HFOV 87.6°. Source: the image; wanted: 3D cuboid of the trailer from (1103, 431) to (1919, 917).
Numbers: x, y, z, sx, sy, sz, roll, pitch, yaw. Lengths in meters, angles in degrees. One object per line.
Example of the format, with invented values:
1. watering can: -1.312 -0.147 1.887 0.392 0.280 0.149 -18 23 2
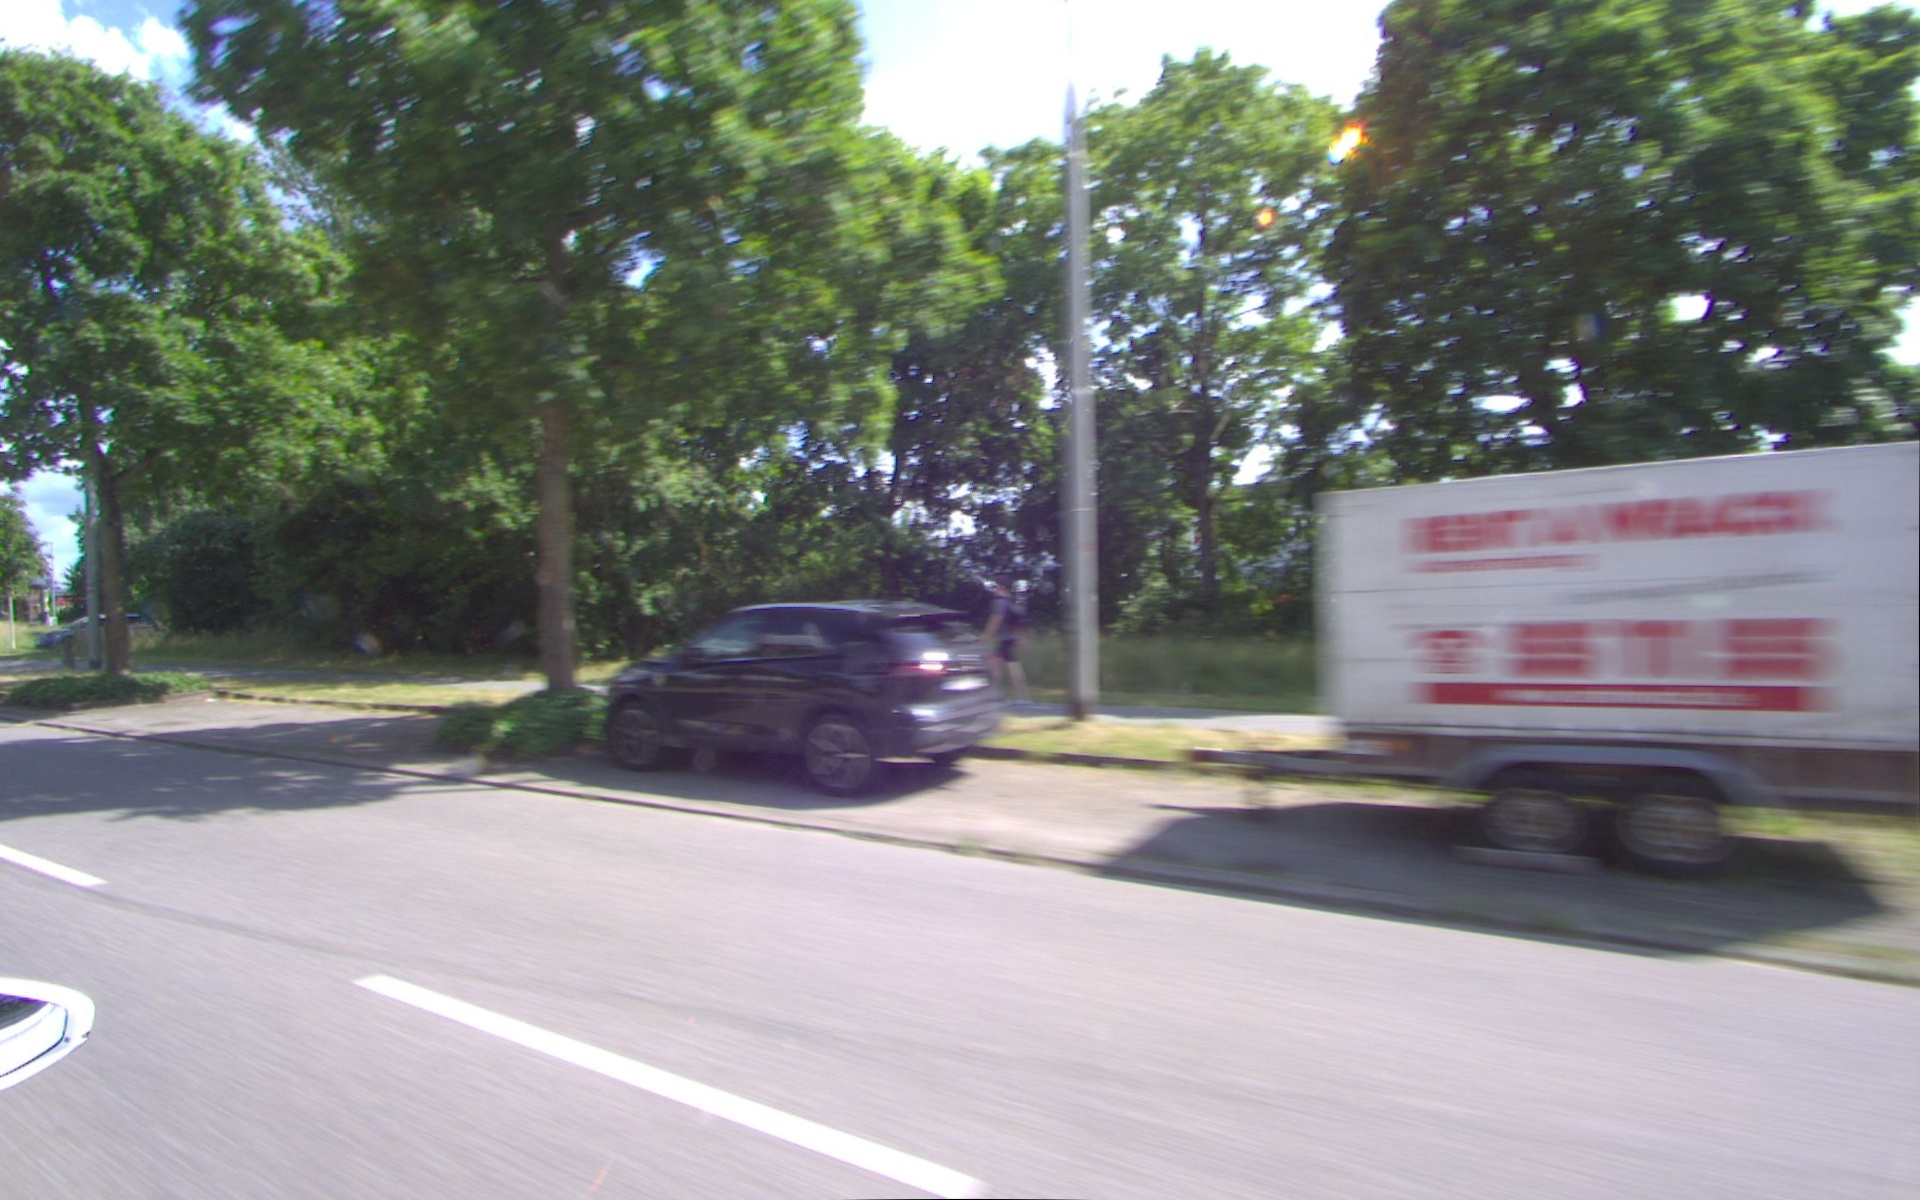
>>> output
1. trailer: 3.475 0.379 6.800 4.539 2.383 1.948 -1 2 32

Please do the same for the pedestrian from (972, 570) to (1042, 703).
1. pedestrian: 0.665 0.511 14.146 0.729 1.817 0.716 -1 -1 32

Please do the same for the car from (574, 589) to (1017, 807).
1. car: -1.718 0.814 9.760 4.301 1.713 1.586 -1 1 33

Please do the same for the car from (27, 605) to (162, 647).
1. car: -38.511 1.104 44.673 1.756 1.514 4.156 1 4 28
